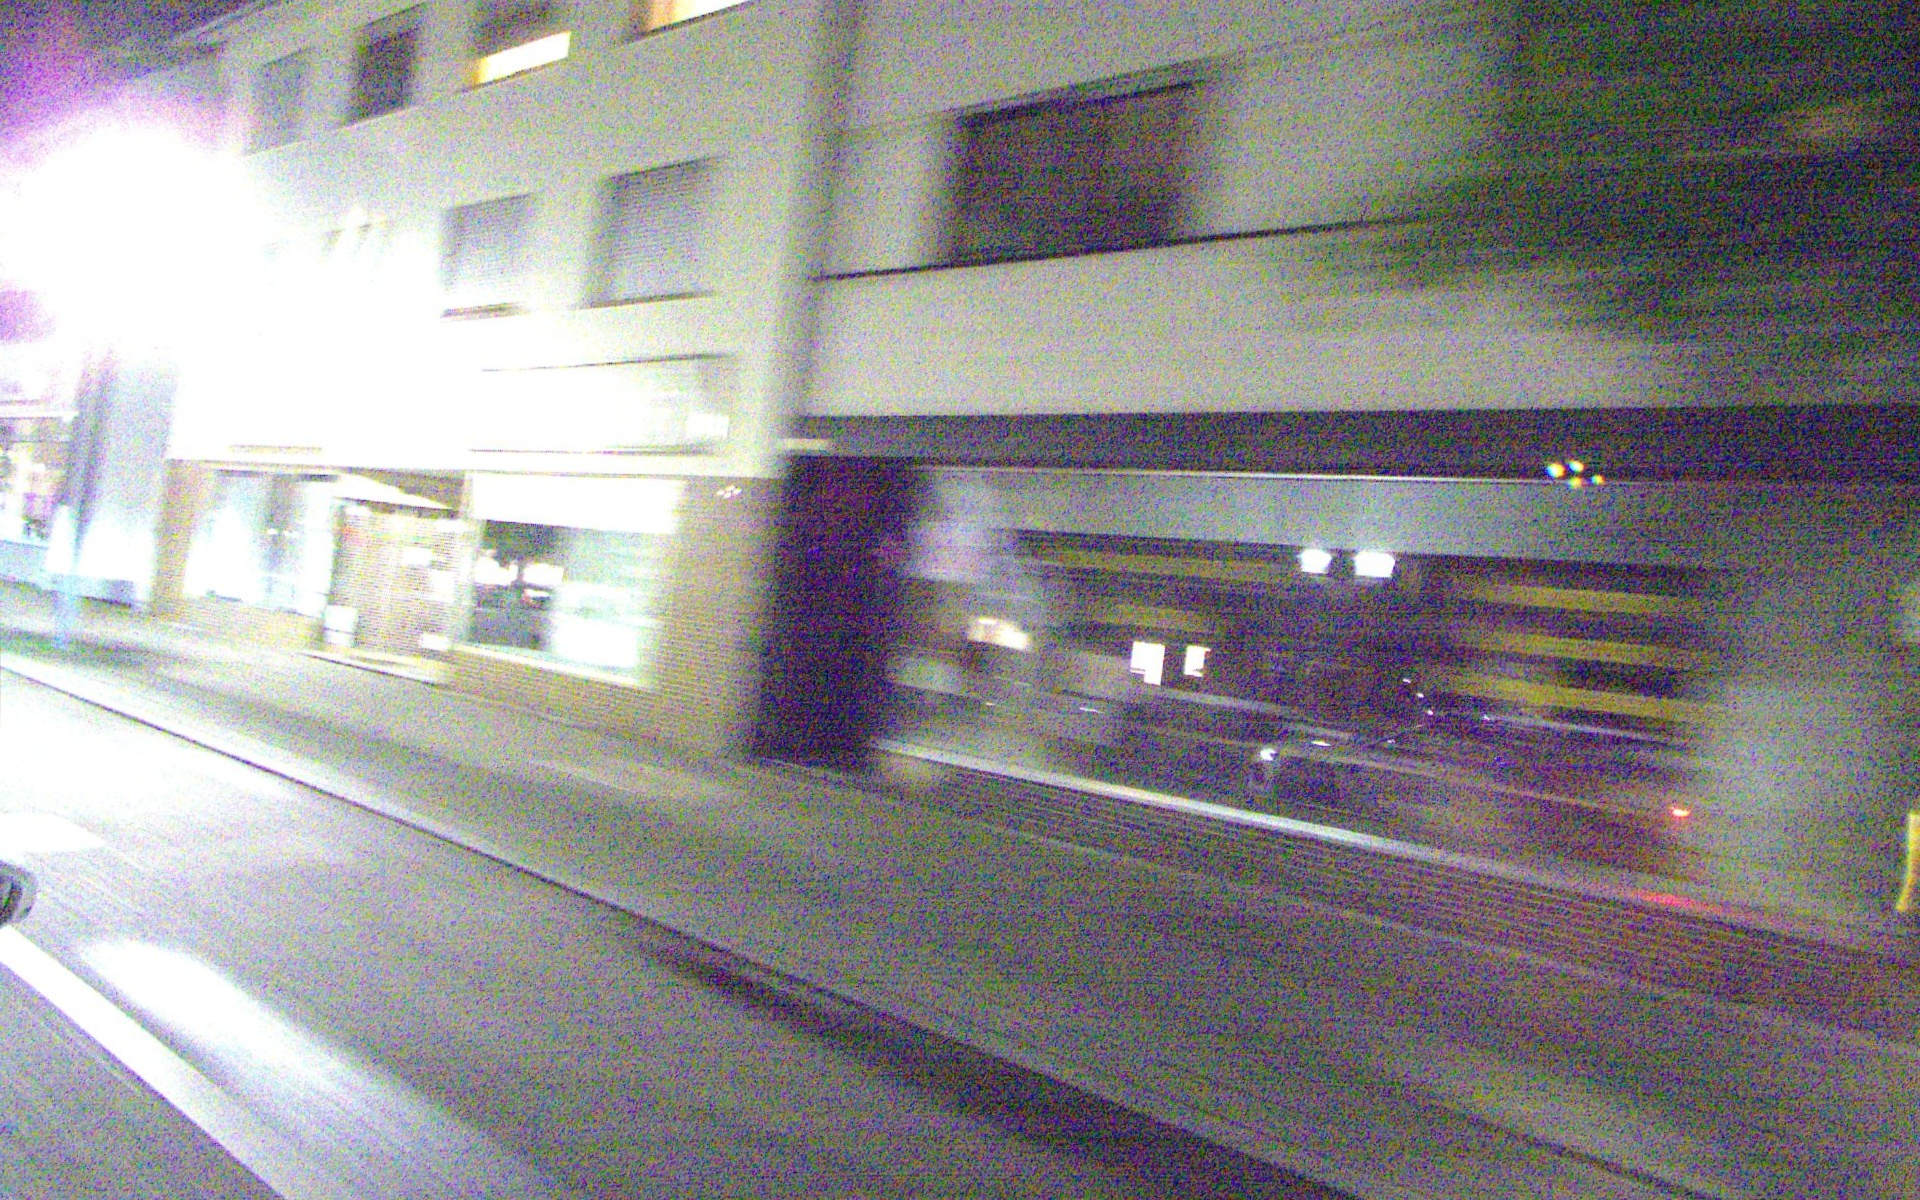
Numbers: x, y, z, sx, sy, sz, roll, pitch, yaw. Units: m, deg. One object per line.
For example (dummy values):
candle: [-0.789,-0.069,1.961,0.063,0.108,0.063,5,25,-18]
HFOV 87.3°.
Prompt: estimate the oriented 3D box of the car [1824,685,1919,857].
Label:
car: [10.712,1.752,9.130,3.989,1.479,1.805,4,1,31]

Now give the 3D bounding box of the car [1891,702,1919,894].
car: [9.264,1.699,6.773,3.989,1.479,1.805,4,1,31]

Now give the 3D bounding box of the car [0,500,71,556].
car: [-29.046,-2.262,29.568,1.722,1.495,3.991,5,0,30]

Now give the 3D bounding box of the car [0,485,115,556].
car: [-25.031,-2.190,26.315,1.785,1.602,4.081,7,1,29]
